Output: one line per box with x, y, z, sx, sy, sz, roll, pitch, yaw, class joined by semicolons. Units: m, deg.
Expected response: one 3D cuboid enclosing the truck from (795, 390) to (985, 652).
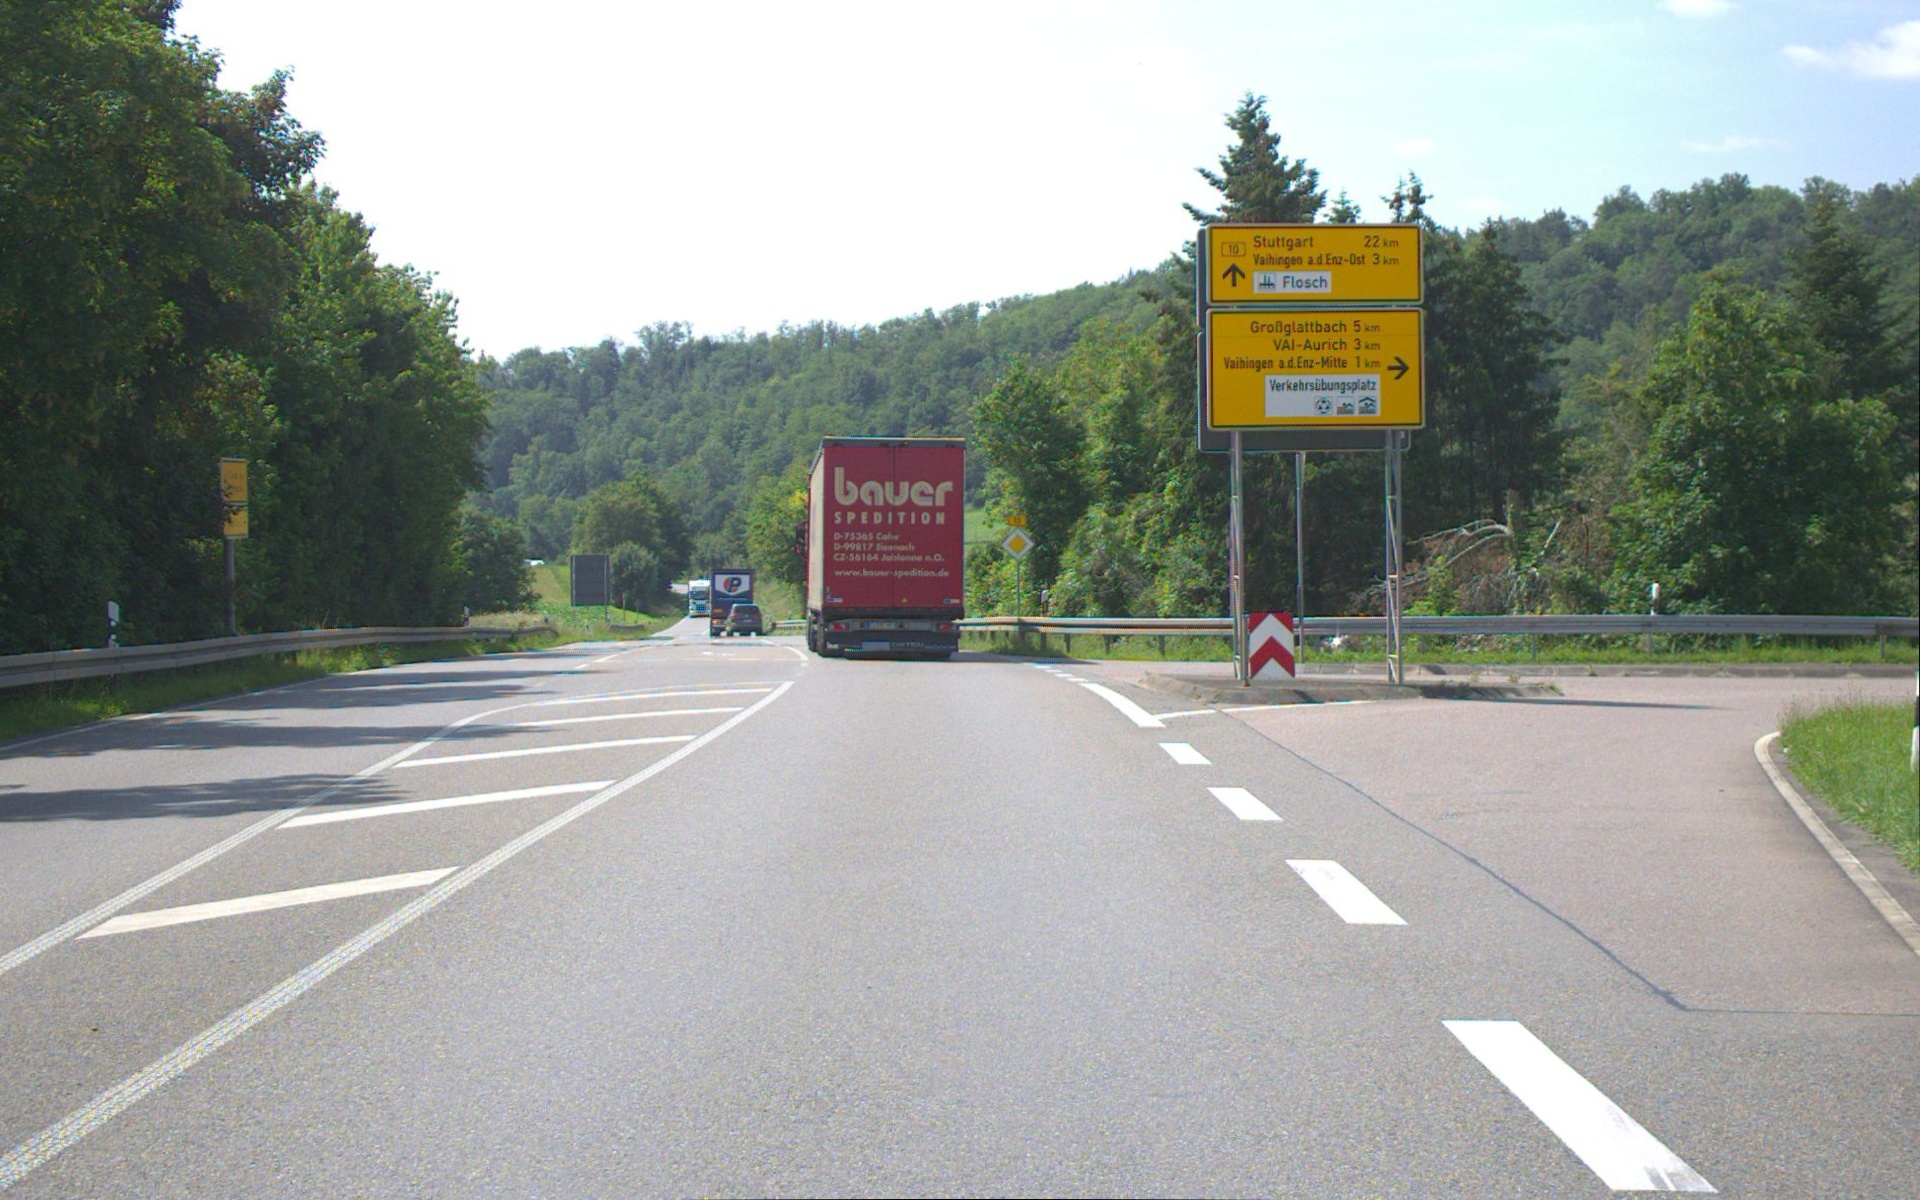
-1.552;-1.447;67.452;3.172;4.609;13.545;0;0;-3;truck

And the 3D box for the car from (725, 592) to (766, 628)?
-11.435;0.527;182.982;1.993;1.804;4.000;3;-1;-5;car

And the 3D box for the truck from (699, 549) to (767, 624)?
-14.215;-0.777;214.191;3.904;4.355;13.294;2;-1;-5;truck
